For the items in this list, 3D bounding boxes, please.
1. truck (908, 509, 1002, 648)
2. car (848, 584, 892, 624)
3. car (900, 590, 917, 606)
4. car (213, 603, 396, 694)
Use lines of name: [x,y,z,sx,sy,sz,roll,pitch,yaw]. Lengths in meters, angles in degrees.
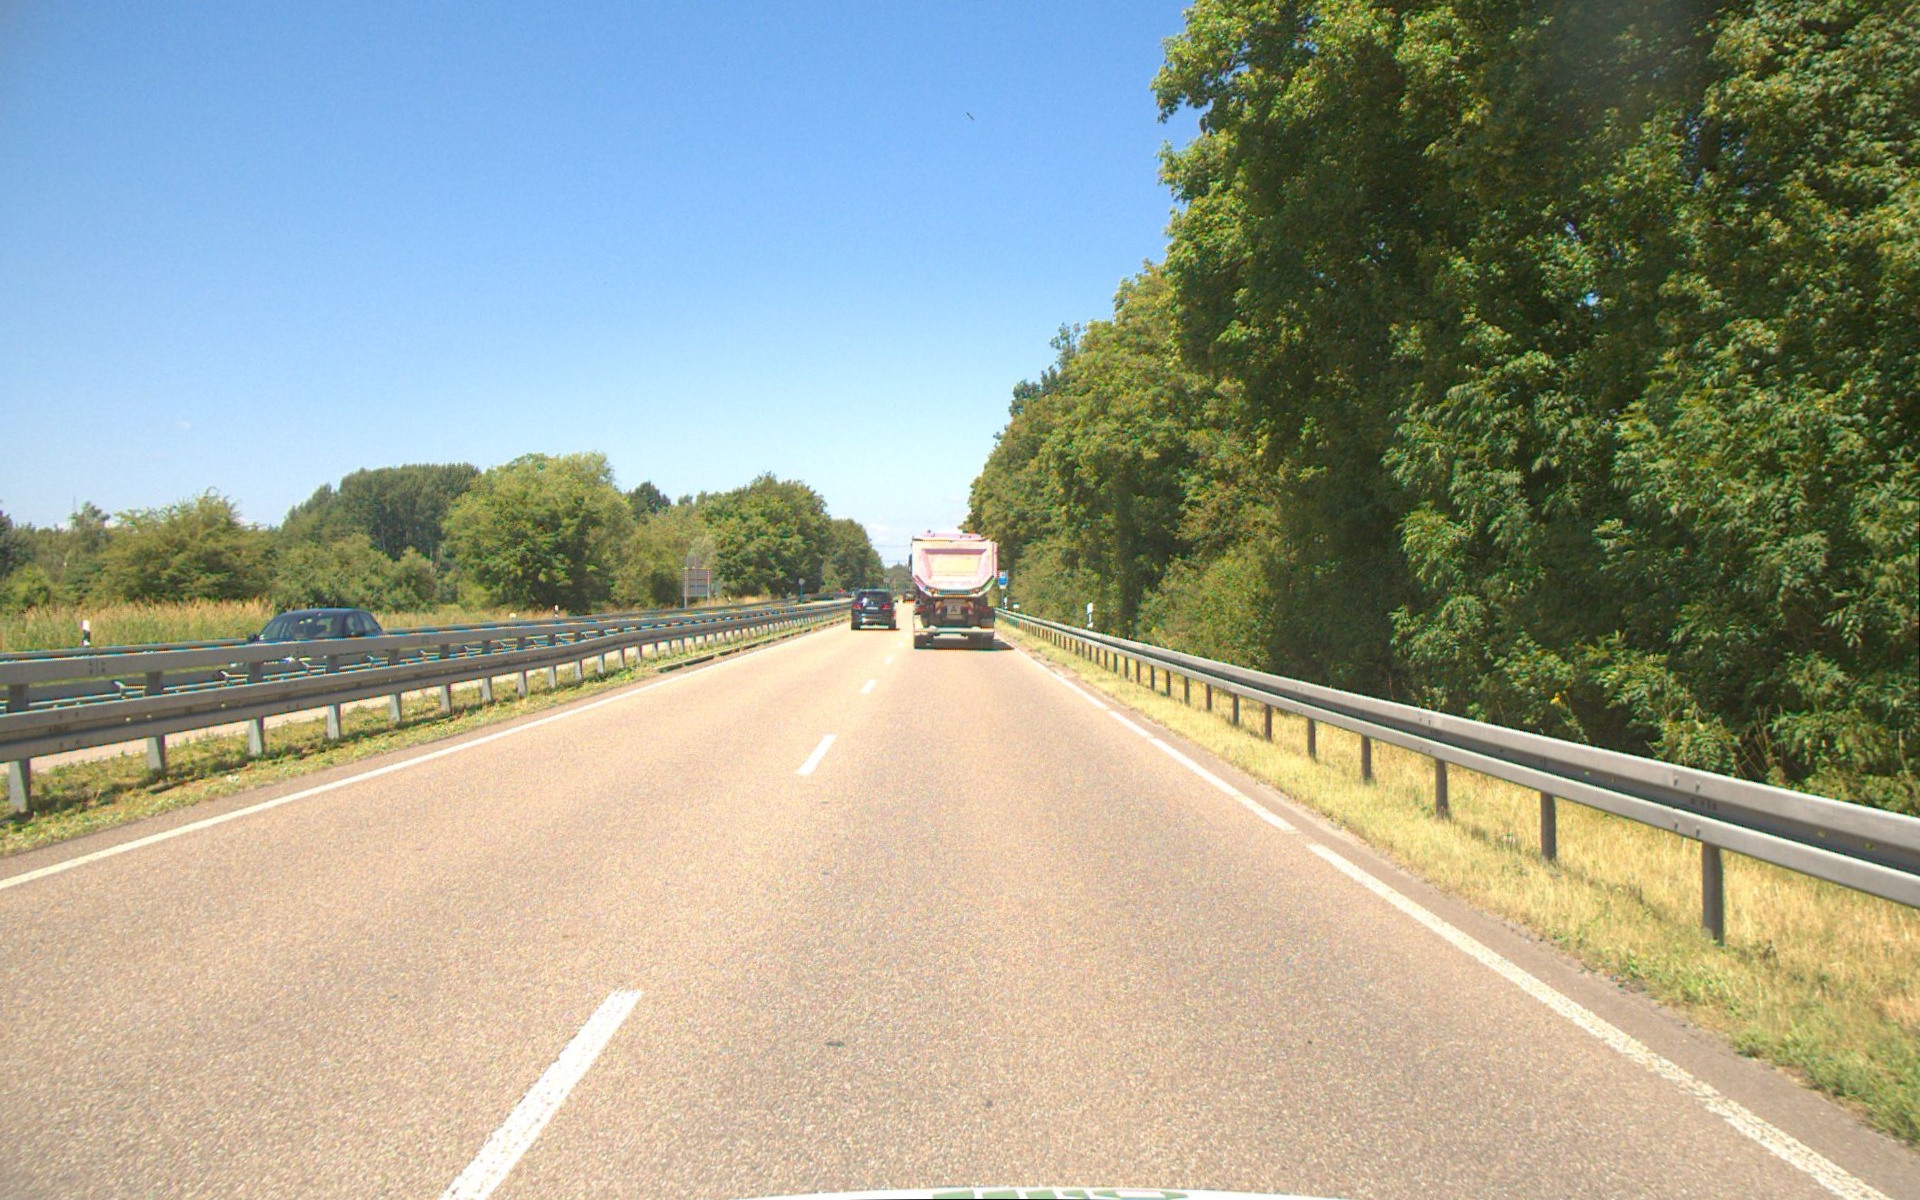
truck: [-0.307,-0.675,53.696,2.665,3.999,12.366,0,1,-2]
car: [-3.930,0.211,72.810,1.820,1.701,3.998,1,-1,-2]
car: [-5.797,-0.191,186.011,1.820,1.748,3.998,1,-1,-2]
car: [-10.465,0.736,26.652,1.595,1.355,3.534,0,0,-1]
